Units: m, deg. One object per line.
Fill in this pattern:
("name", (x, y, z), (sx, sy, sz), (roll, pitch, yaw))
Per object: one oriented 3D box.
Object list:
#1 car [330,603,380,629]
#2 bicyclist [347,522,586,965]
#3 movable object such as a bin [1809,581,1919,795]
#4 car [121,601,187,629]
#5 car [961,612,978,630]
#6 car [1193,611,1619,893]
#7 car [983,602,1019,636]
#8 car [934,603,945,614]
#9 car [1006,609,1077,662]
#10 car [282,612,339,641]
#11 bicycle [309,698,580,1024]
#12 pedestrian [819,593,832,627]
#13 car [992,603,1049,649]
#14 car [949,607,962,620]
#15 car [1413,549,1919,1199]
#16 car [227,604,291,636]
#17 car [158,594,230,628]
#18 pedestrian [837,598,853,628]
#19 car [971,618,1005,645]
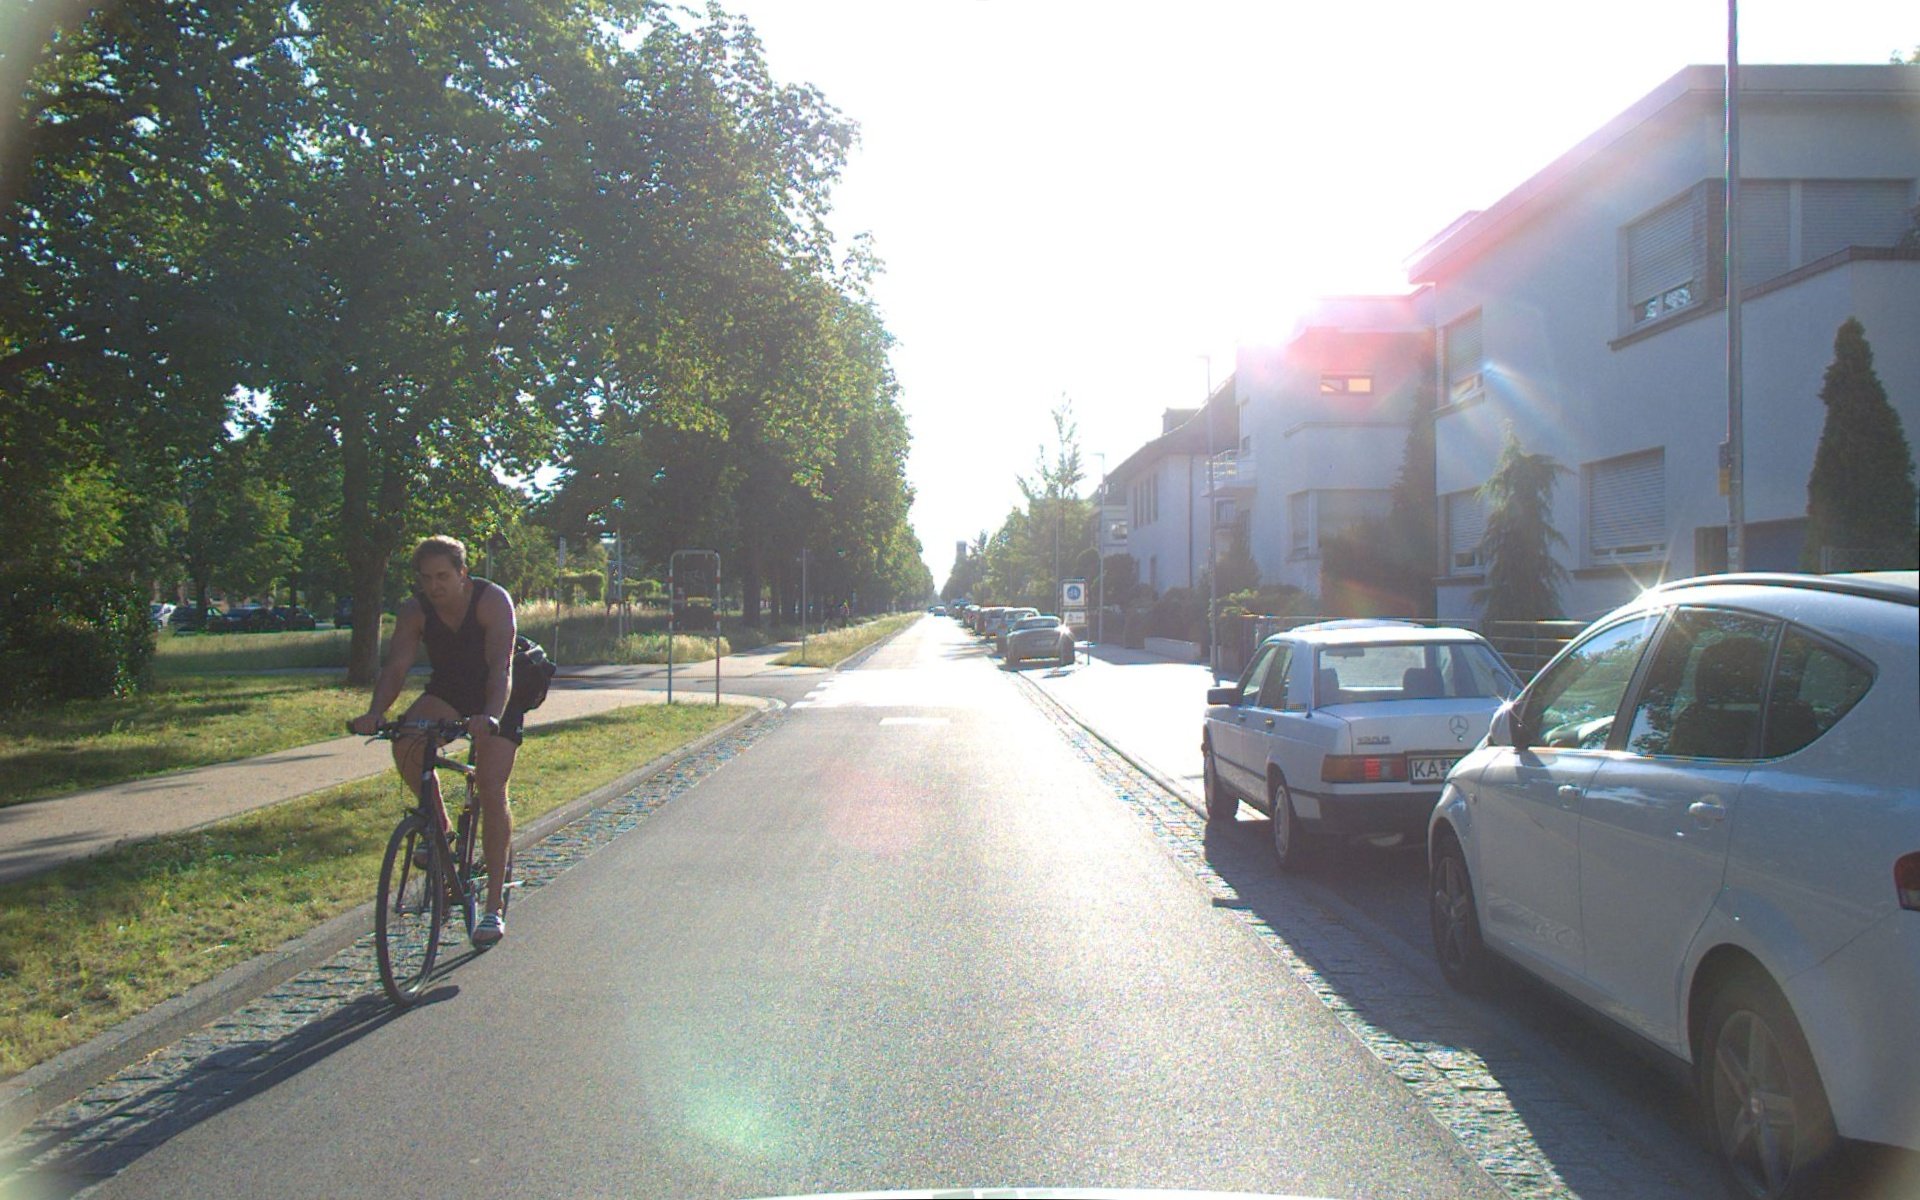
("car", (-38.095, 1.003, 104.221), (1.658, 1.625, 4.220), (1, 0, -2))
("bicyclist", (-2.047, 0.562, 6.997), (0.668, 1.702, 1.172), (-1, -1, -1))
("movable object such as a bin", (6.971, 0.612, 11.844), (1.211, 1.457, 1.123), (1, -1, 1))
("car", (-43.080, 0.777, 88.450), (1.596, 1.430, 3.999), (1, 0, -1))
("car", (0.860, 1.879, 146.490), (1.467, 1.594, 3.266), (0, -1, 0))
("car", (2.618, 0.798, 10.743), (1.532, 1.414, 4.373), (-1, 0, 0))
("car", (1.927, 0.881, 78.930), (1.594, 1.531, 3.633), (-2, 0, 0))
("car", (-3.094, 1.300, 247.345), (1.618, 1.568, 3.266), (1, -1, -1))
("car", (2.300, 0.997, 47.636), (1.738, 1.311, 4.272), (-3, 0, 0))
("car", (-37.011, 1.484, 94.290), (1.658, 1.625, 4.220), (1, 0, -2))
("bicycle", (-2.033, 0.972, 6.775), (0.545, 1.050, 1.914), (-1, -1, -1))
("pedestrian", (-7.402, 0.538, 91.157), (0.611, 1.863, 0.886), (0, 0, 3))
("car", (2.129, 0.893, 59.086), (1.709, 1.500, 3.920), (-3, 0, -2))
("car", (-0.579, 1.666, 209.080), (1.618, 1.568, 3.266), (1, -1, 0))
("car", (2.750, 0.677, 4.961), (1.644, 1.583, 4.130), (-1, 0, 0))
("car", (-37.192, 1.047, 87.874), (1.658, 1.625, 4.220), (1, 0, -2))
("car", (-37.709, 0.551, 81.545), (1.658, 1.625, 4.220), (1, 0, -2))
("pedestrian", (-6.368, 0.731, 91.621), (0.767, 1.643, 0.952), (0, 0, 3))
("car", (1.615, 1.796, 95.448), (1.702, 1.474, 4.195), (-1, -1, -2))
